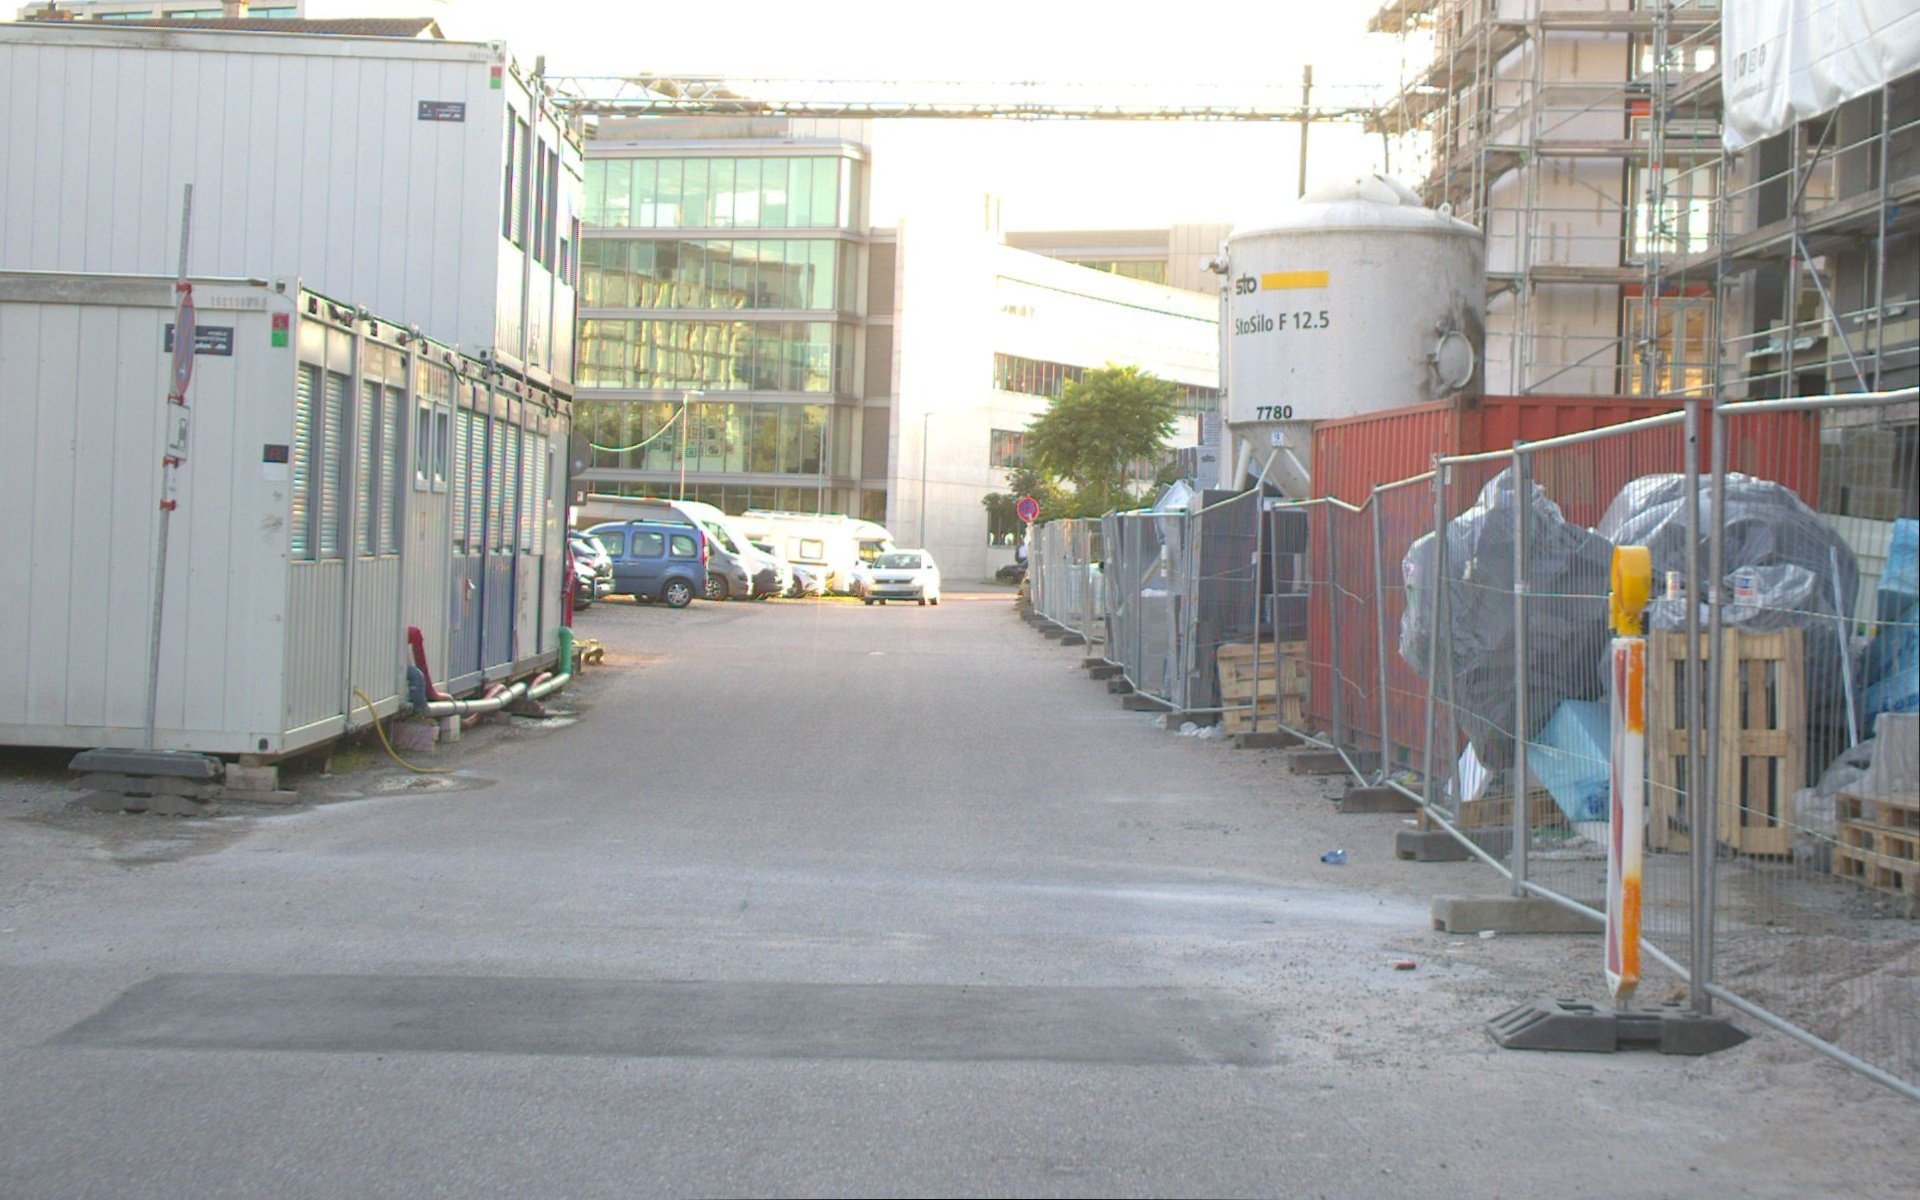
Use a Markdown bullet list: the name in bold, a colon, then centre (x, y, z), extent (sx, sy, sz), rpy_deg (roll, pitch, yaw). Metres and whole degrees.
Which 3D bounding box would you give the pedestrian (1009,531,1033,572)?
- **pedestrian**: centre (2.775, -2.177, 155.262), extent (0.764, 1.810, 0.844), rpy_deg (2, 1, 23)

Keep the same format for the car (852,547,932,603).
- **car**: centre (-1.930, -0.732, 98.264), extent (1.665, 1.523, 3.909), rpy_deg (2, 1, 7)

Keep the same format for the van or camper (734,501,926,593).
- **van or camper**: centre (-4.616, -1.878, 122.294), extent (6.336, 2.968, 2.291), rpy_deg (3, 1, 12)

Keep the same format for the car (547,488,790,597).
- **car**: centre (-7.870, -1.558, 93.140), extent (6.328, 2.731, 2.000), rpy_deg (2, 1, 0)

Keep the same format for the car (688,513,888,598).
- **car**: centre (-5.416, -1.415, 108.298), extent (5.926, 2.481, 1.999), rpy_deg (2, 1, 11)

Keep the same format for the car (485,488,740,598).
- **car**: centre (-8.986, -1.470, 89.247), extent (6.328, 2.642, 2.000), rpy_deg (2, 1, 0)

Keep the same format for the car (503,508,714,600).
- **car**: centre (-7.703, -1.004, 75.360), extent (4.503, 1.862, 2.000), rpy_deg (2, 1, -6)

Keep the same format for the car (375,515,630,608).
- **car**: centre (-8.884, -0.753, 66.906), extent (4.505, 1.642, 1.999), rpy_deg (2, 1, 9)
